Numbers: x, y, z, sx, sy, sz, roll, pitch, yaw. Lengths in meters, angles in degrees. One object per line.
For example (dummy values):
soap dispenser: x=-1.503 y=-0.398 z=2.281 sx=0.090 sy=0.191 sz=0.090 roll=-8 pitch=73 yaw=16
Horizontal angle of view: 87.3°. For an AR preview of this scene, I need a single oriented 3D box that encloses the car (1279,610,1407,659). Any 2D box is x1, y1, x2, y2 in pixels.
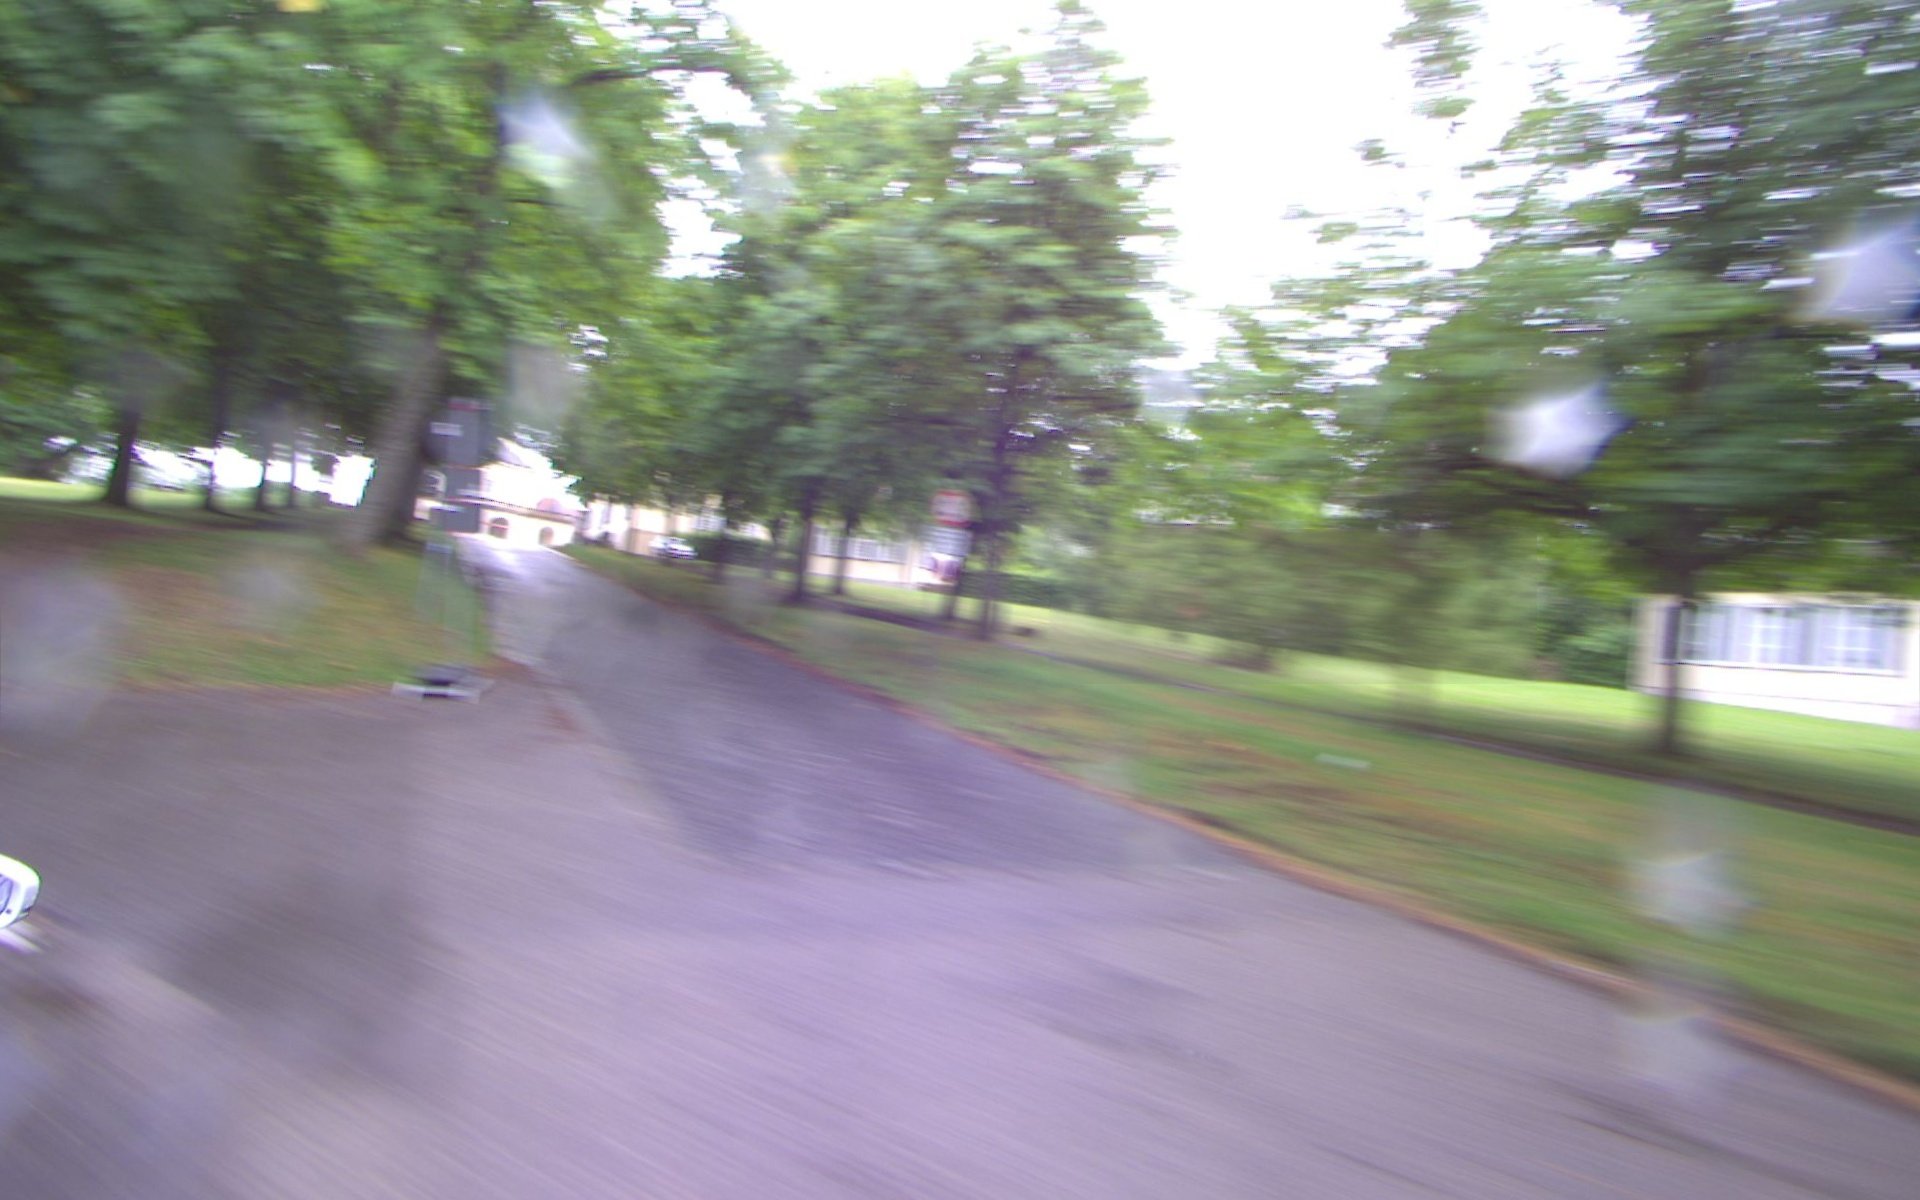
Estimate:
car: x=15.527 y=1.385 z=40.981 sx=1.980 sy=1.528 sz=4.464 roll=4 pitch=1 yaw=-35
